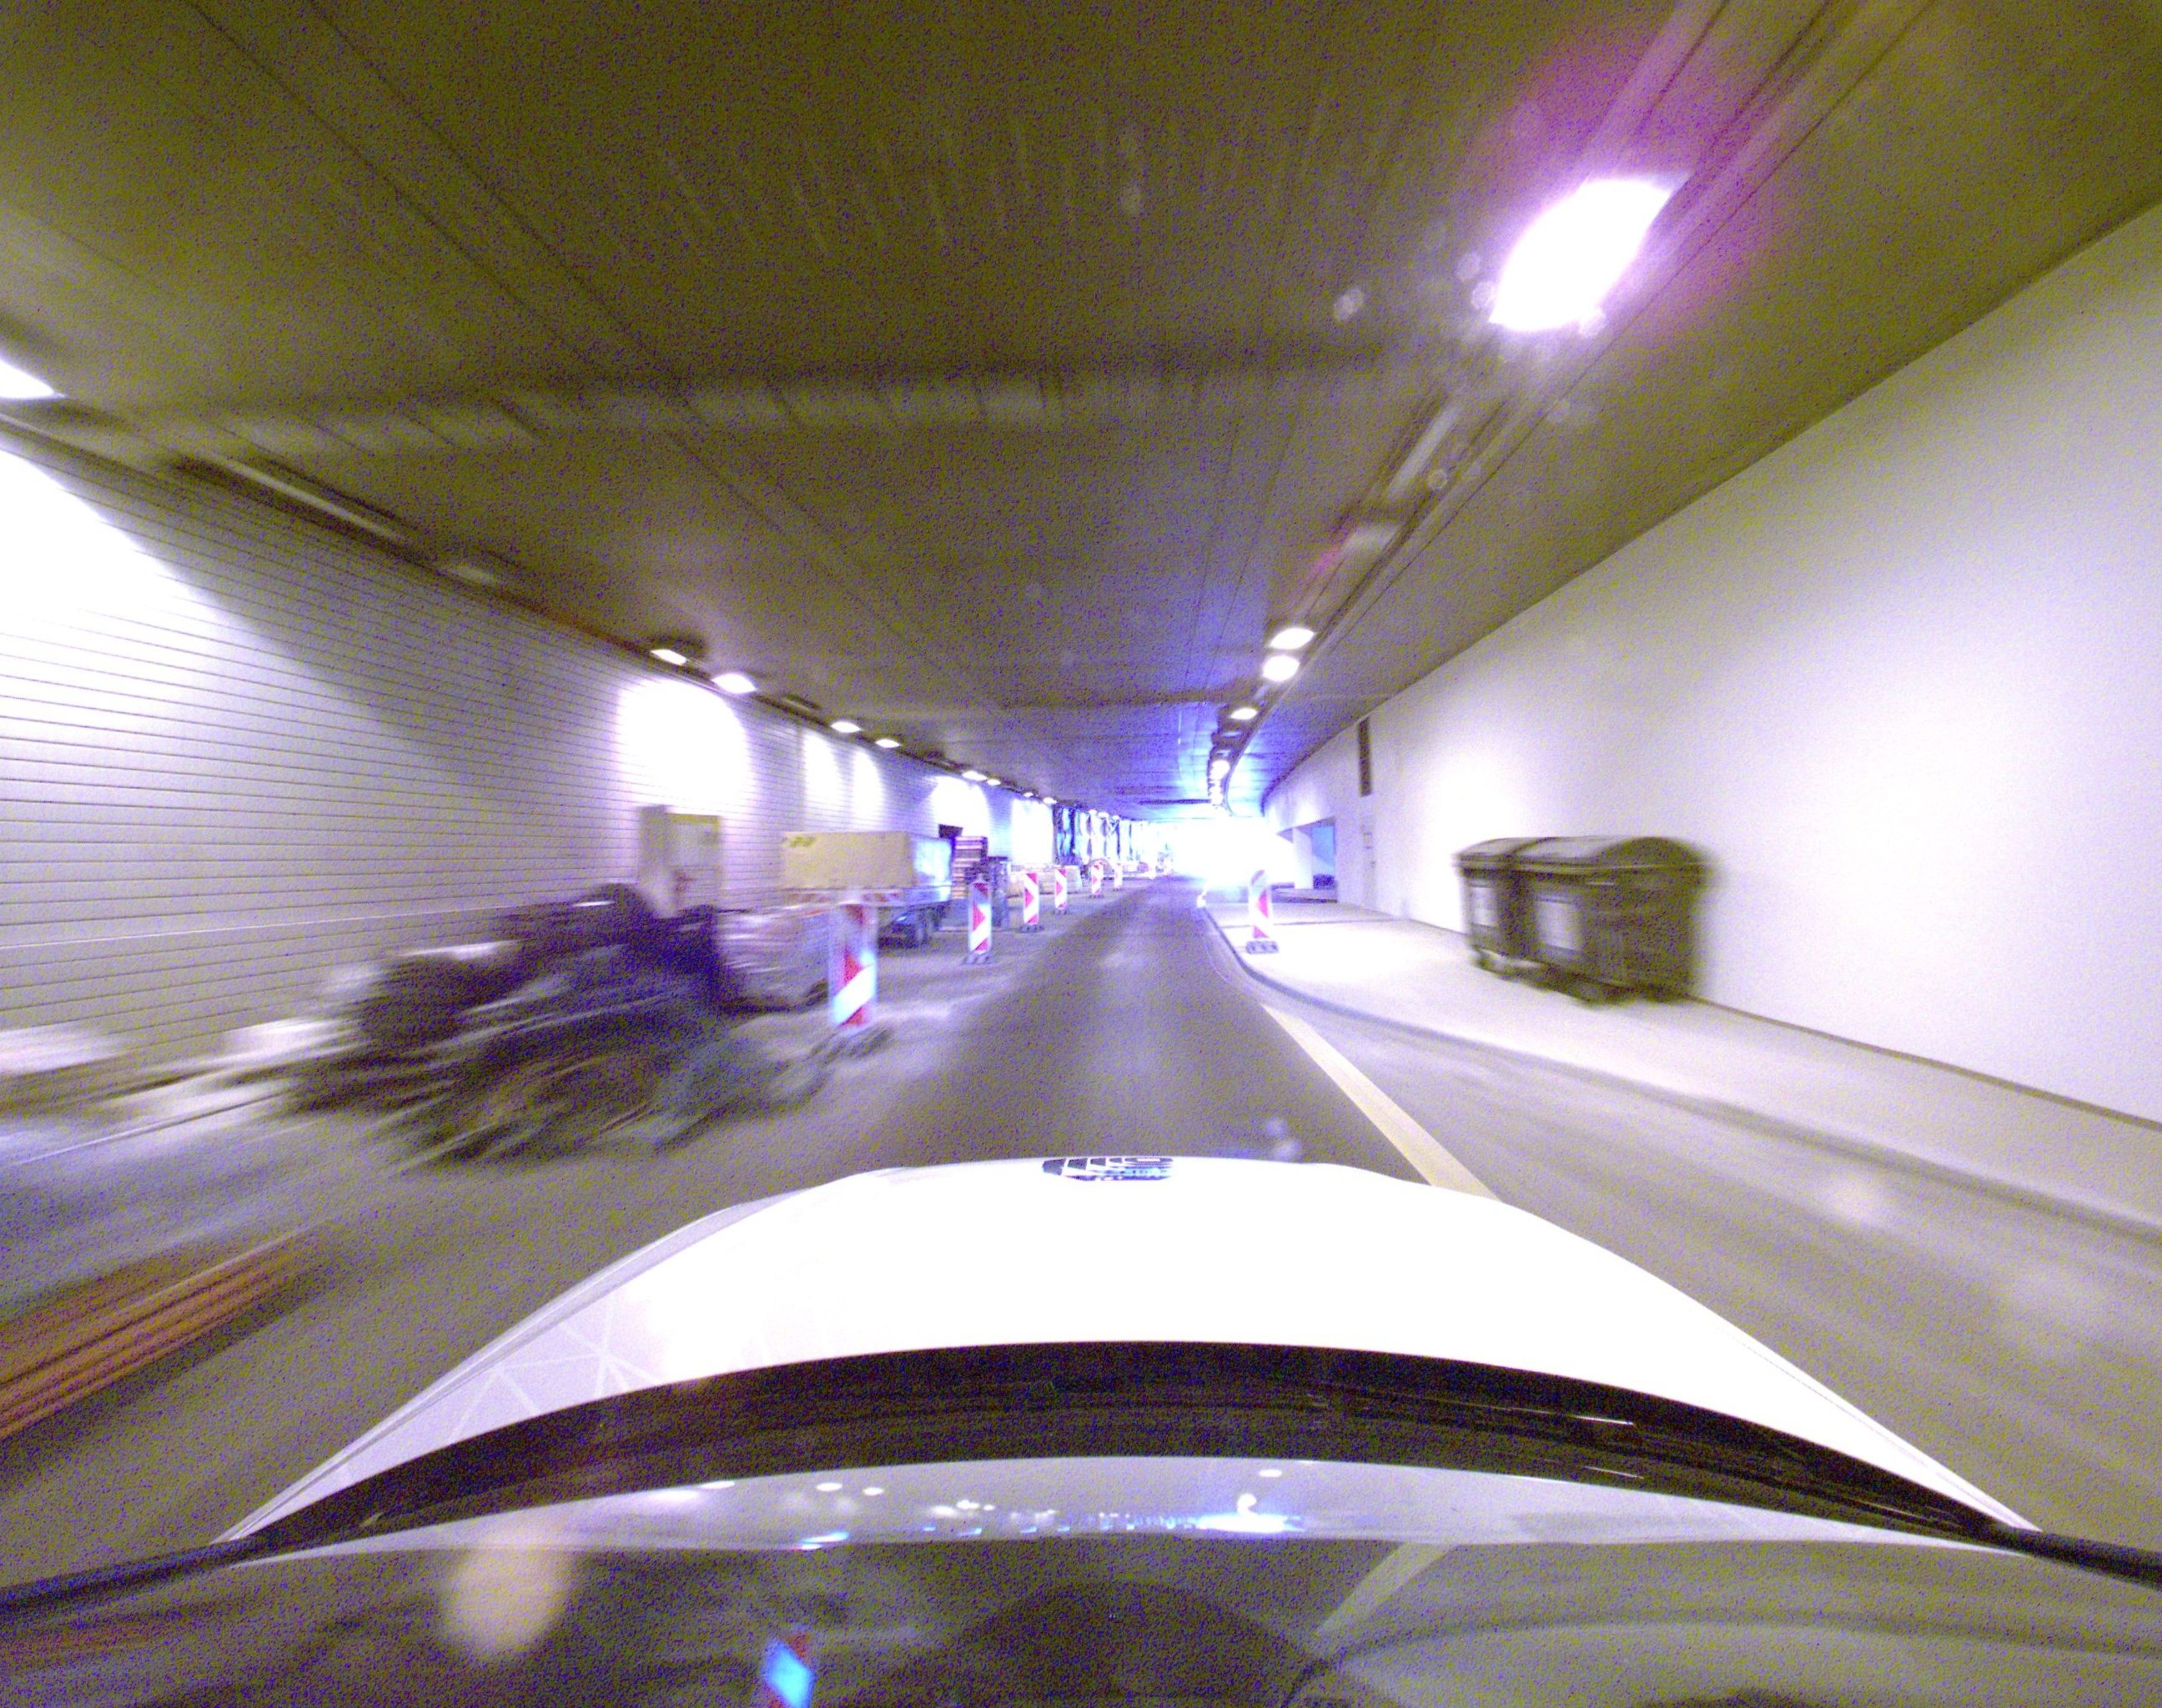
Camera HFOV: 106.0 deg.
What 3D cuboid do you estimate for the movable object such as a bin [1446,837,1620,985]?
[{"bbox_3d":[4.778,0.573,8.751,1.140,1.445,1.365,-1,-1,3],"label":"movable object such as a bin"}]

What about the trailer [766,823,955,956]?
[{"bbox_3d":[-3.645,0.562,14.189,2.199,2.014,3.468,-1,-1,2],"label":"trailer"}]

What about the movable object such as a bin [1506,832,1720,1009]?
[{"bbox_3d":[4.724,0.558,7.371,1.093,1.445,1.323,-1,-1,3],"label":"movable object such as a bin"}]
